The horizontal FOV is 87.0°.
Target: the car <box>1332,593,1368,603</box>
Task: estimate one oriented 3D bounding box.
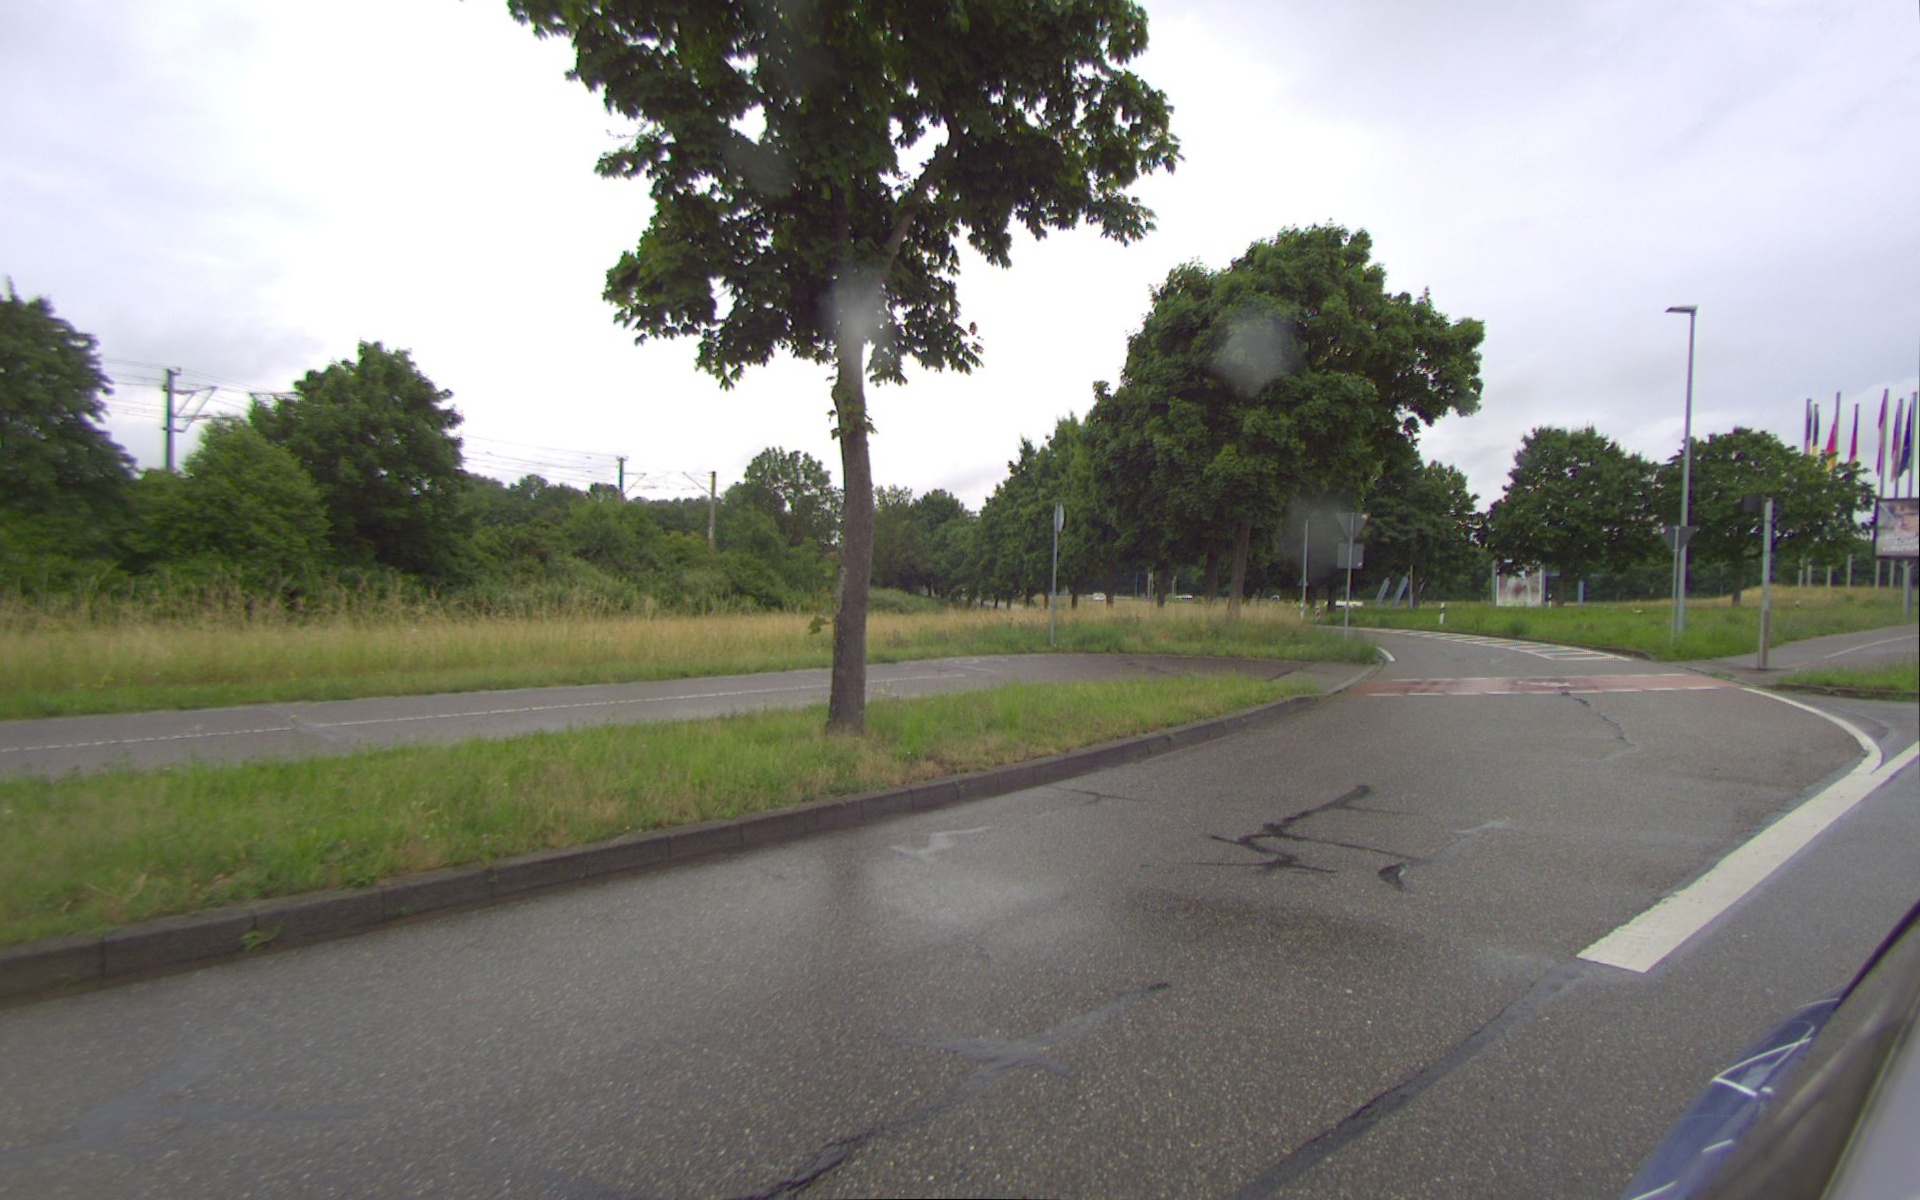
[{"bbox_3d":[64.344,-0.333,167.047,5.248,1.627,2.216,2,1,32],"label":"car"}]
